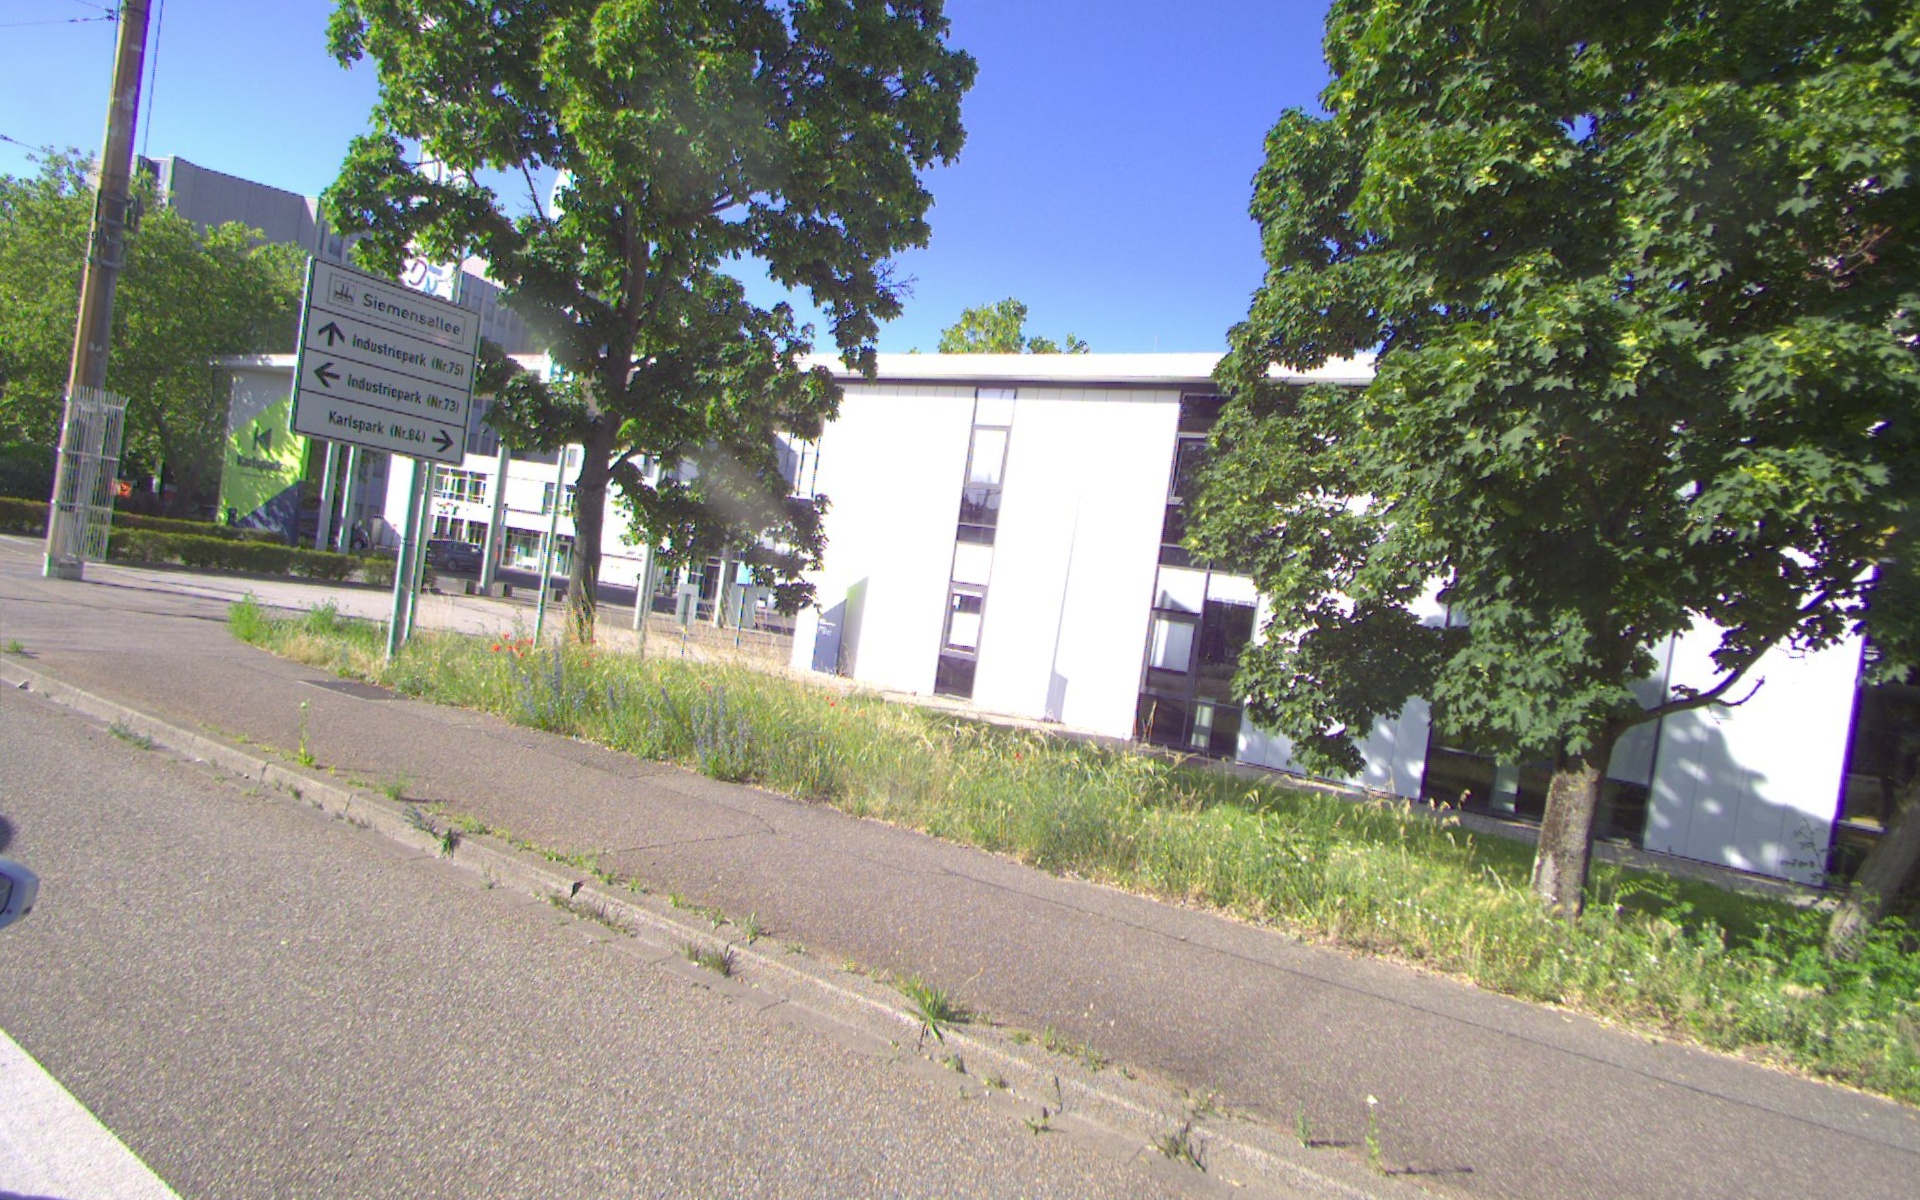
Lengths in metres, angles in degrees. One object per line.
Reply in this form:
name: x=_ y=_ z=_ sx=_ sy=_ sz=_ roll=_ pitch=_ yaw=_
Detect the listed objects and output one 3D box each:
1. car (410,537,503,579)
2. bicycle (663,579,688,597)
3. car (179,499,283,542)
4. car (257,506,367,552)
car: x=-26.684 y=-2.208 z=53.455 sx=1.918 sy=1.597 sz=4.000 roll=8 pitch=-1 yaw=23
bicycle: x=-20.267 y=-0.861 z=71.673 sx=1.591 sy=1.016 sz=0.566 roll=8 pitch=0 yaw=17
car: x=-42.662 y=-4.638 z=58.970 sx=1.861 sy=1.706 sz=4.468 roll=8 pitch=-1 yaw=26
car: x=-36.286 y=-3.952 z=56.511 sx=2.052 sy=1.778 sz=4.900 roll=8 pitch=-1 yaw=17
